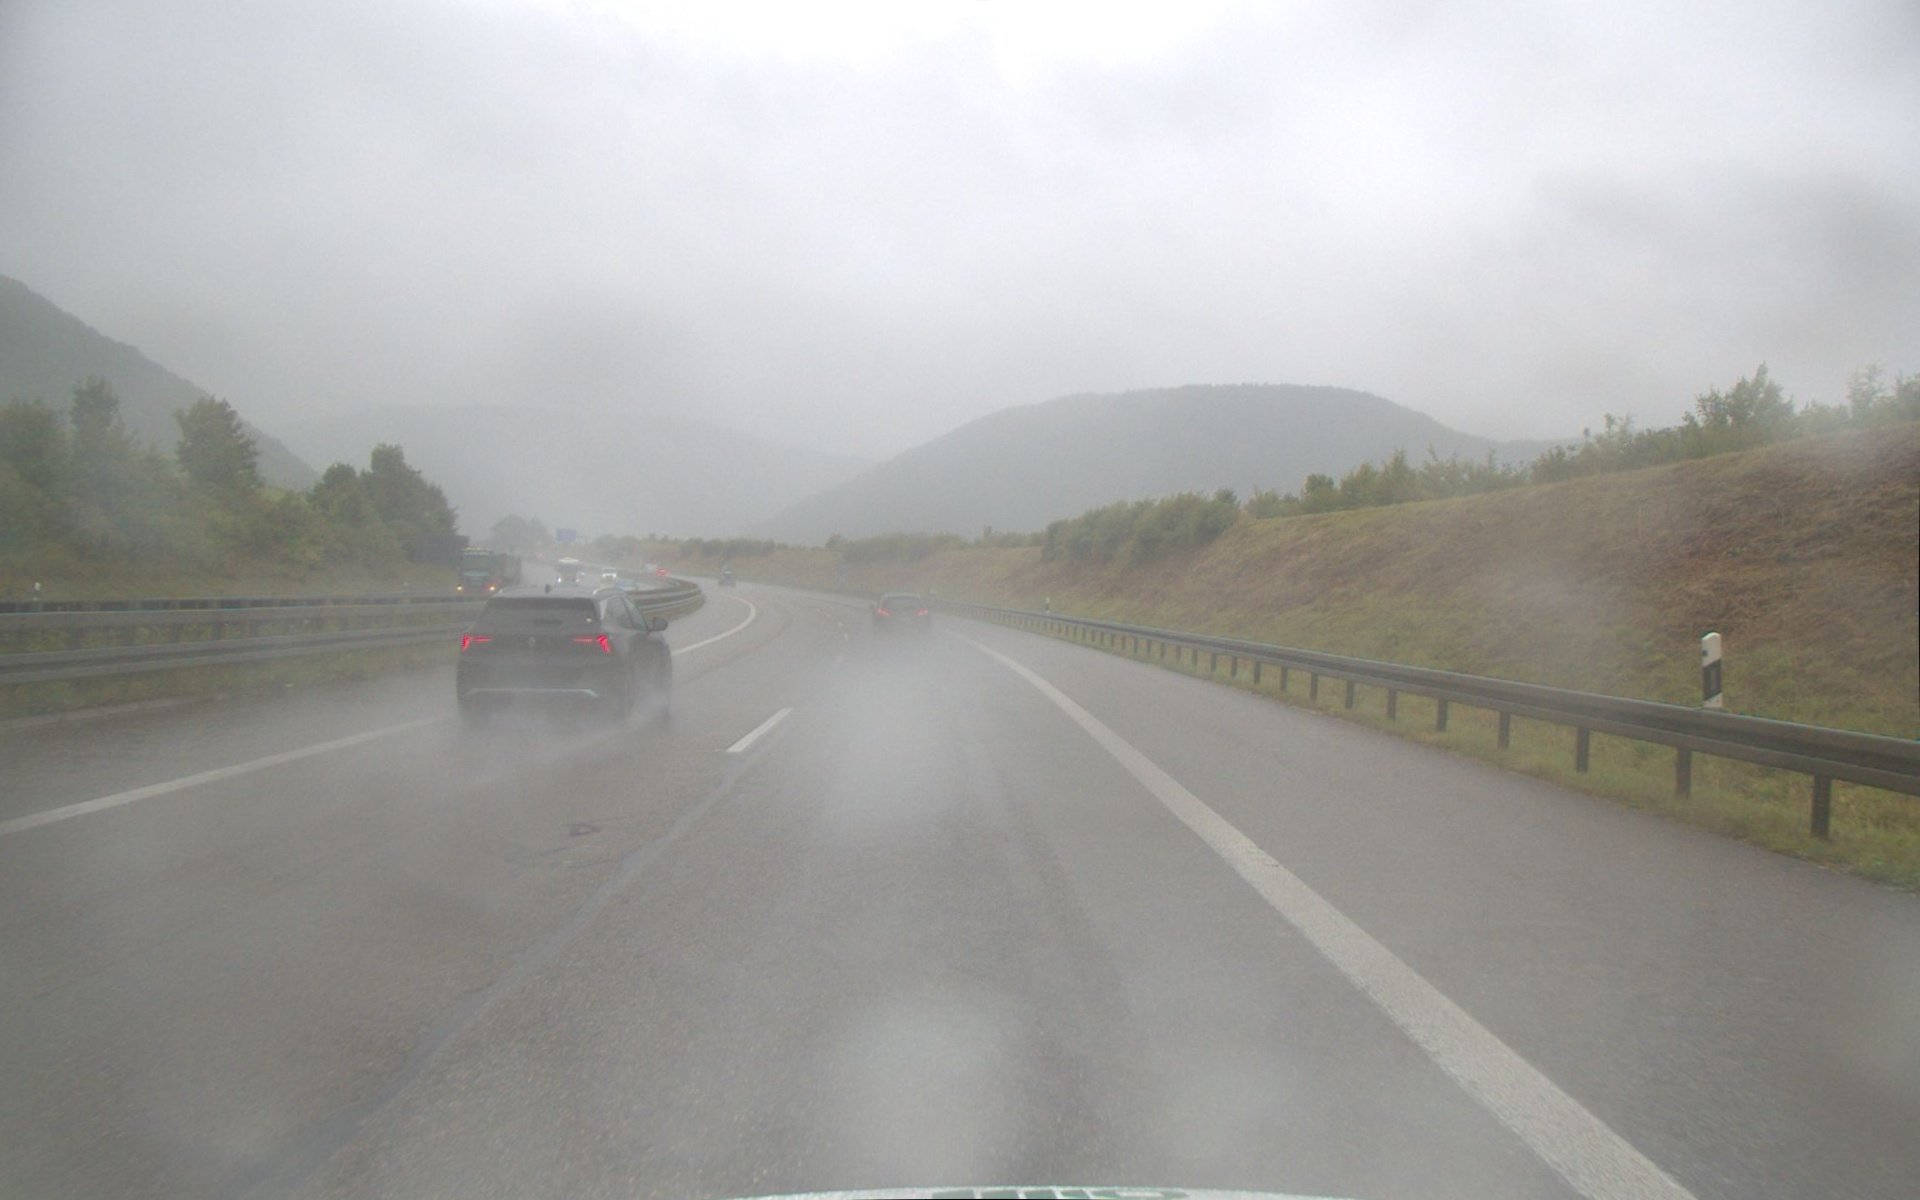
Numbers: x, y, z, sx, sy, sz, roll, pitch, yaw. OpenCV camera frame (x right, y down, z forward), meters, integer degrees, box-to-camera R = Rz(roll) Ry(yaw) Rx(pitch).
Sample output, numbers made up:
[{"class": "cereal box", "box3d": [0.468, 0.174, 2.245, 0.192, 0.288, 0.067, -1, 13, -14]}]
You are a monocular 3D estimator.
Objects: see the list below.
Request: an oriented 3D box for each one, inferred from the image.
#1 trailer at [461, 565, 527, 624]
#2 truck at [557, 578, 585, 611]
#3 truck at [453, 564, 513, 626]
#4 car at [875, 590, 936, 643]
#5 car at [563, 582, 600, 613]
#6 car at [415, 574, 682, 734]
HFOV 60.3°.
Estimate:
[{"class": "trailer", "box3d": [-29.668, -0.356, 105.650, 2.669, 3.552, 9.379, 1, 0, -8]}, {"class": "truck", "box3d": [-45.274, -0.664, 192.669, 2.831, 3.868, 5.304, 1, 1, -9]}, {"class": "truck", "box3d": [-29.016, -0.330, 100.789, 2.665, 3.604, 5.302, 1, 0, -8]}, {"class": "car", "box3d": [-1.699, 0.487, 50.382, 1.646, 1.498, 3.811, 2, 0, -5]}, {"class": "car", "box3d": [-25.371, -0.193, 110.998, 1.876, 2.049, 3.996, 1, 0, -5]}, {"class": "car", "box3d": [-4.566, 0.552, 19.192, 2.360, 1.542, 4.777, 2, 0, -7]}]
